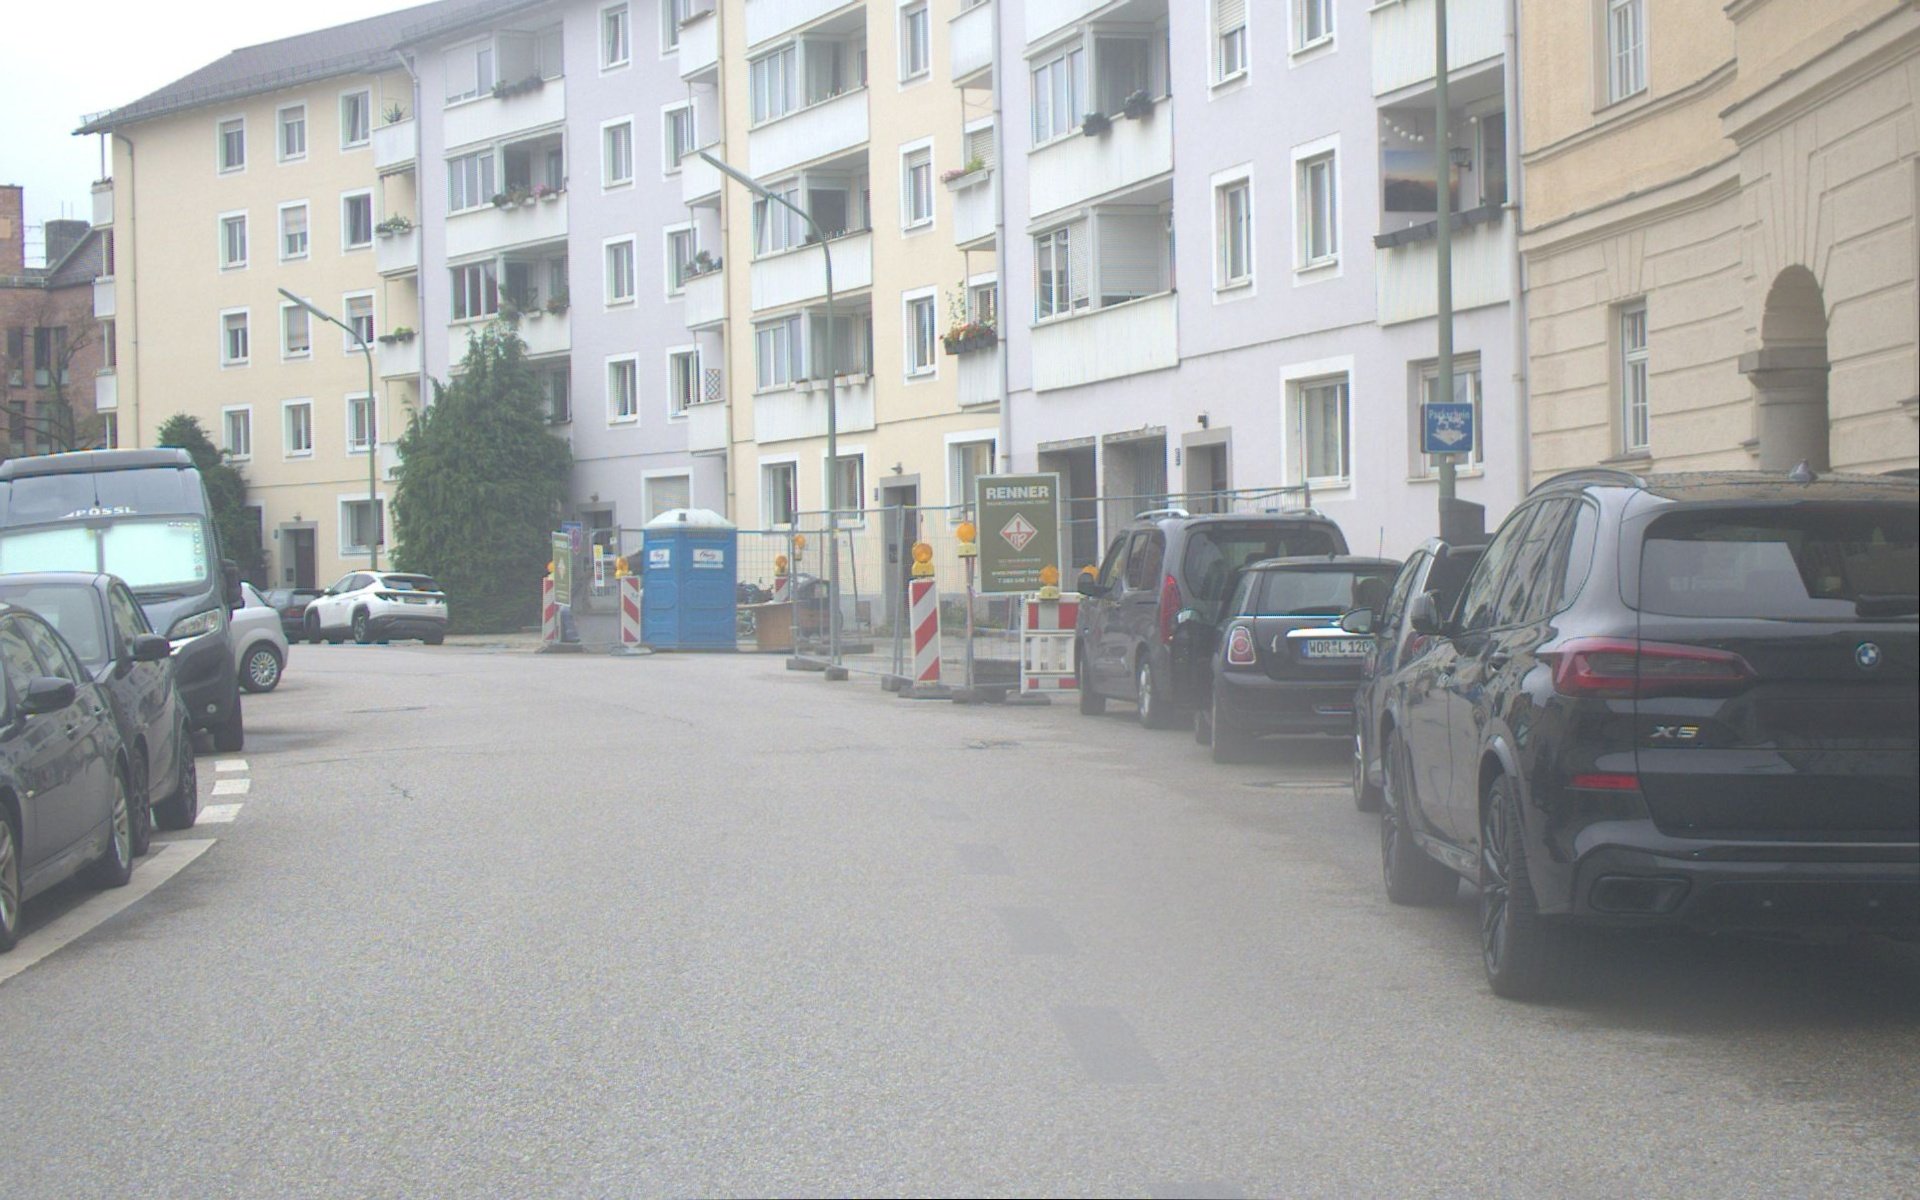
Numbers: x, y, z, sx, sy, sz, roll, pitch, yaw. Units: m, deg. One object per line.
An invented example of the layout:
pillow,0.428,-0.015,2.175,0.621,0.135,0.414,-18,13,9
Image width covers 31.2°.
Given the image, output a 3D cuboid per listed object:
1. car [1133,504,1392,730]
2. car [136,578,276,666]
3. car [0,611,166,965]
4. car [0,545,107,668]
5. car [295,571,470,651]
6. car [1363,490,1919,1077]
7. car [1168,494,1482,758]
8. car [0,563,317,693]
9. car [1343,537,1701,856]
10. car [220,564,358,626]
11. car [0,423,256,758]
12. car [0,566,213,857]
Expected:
car,2.537,0.130,29.719,1.836,1.793,4.238,1,0,0
car,-18.338,0.516,83.453,1.747,2.074,4.515,1,0,-34
car,-4.702,0.775,14.832,1.721,1.359,4.213,-2,0,-3
car,-14.457,0.067,52.075,1.993,1.766,4.815,-1,1,-26
car,-12.682,0.234,75.328,2.026,1.672,4.612,1,0,-34
car,2.723,0.482,12.518,1.927,1.724,4.687,1,2,0
car,2.539,0.170,24.704,1.836,1.724,3.730,1,0,0
car,-10.079,0.342,42.557,1.674,1.525,3.973,1,0,40
car,2.937,0.473,18.429,1.507,1.551,2.862,1,0,2
car,-15.541,-0.104,79.496,1.659,1.344,3.803,1,-1,-36
car,-7.422,-0.102,30.130,2.143,2.565,6.213,-2,1,-13
car,-5.232,0.595,19.068,1.666,1.455,2.868,-3,0,-4
